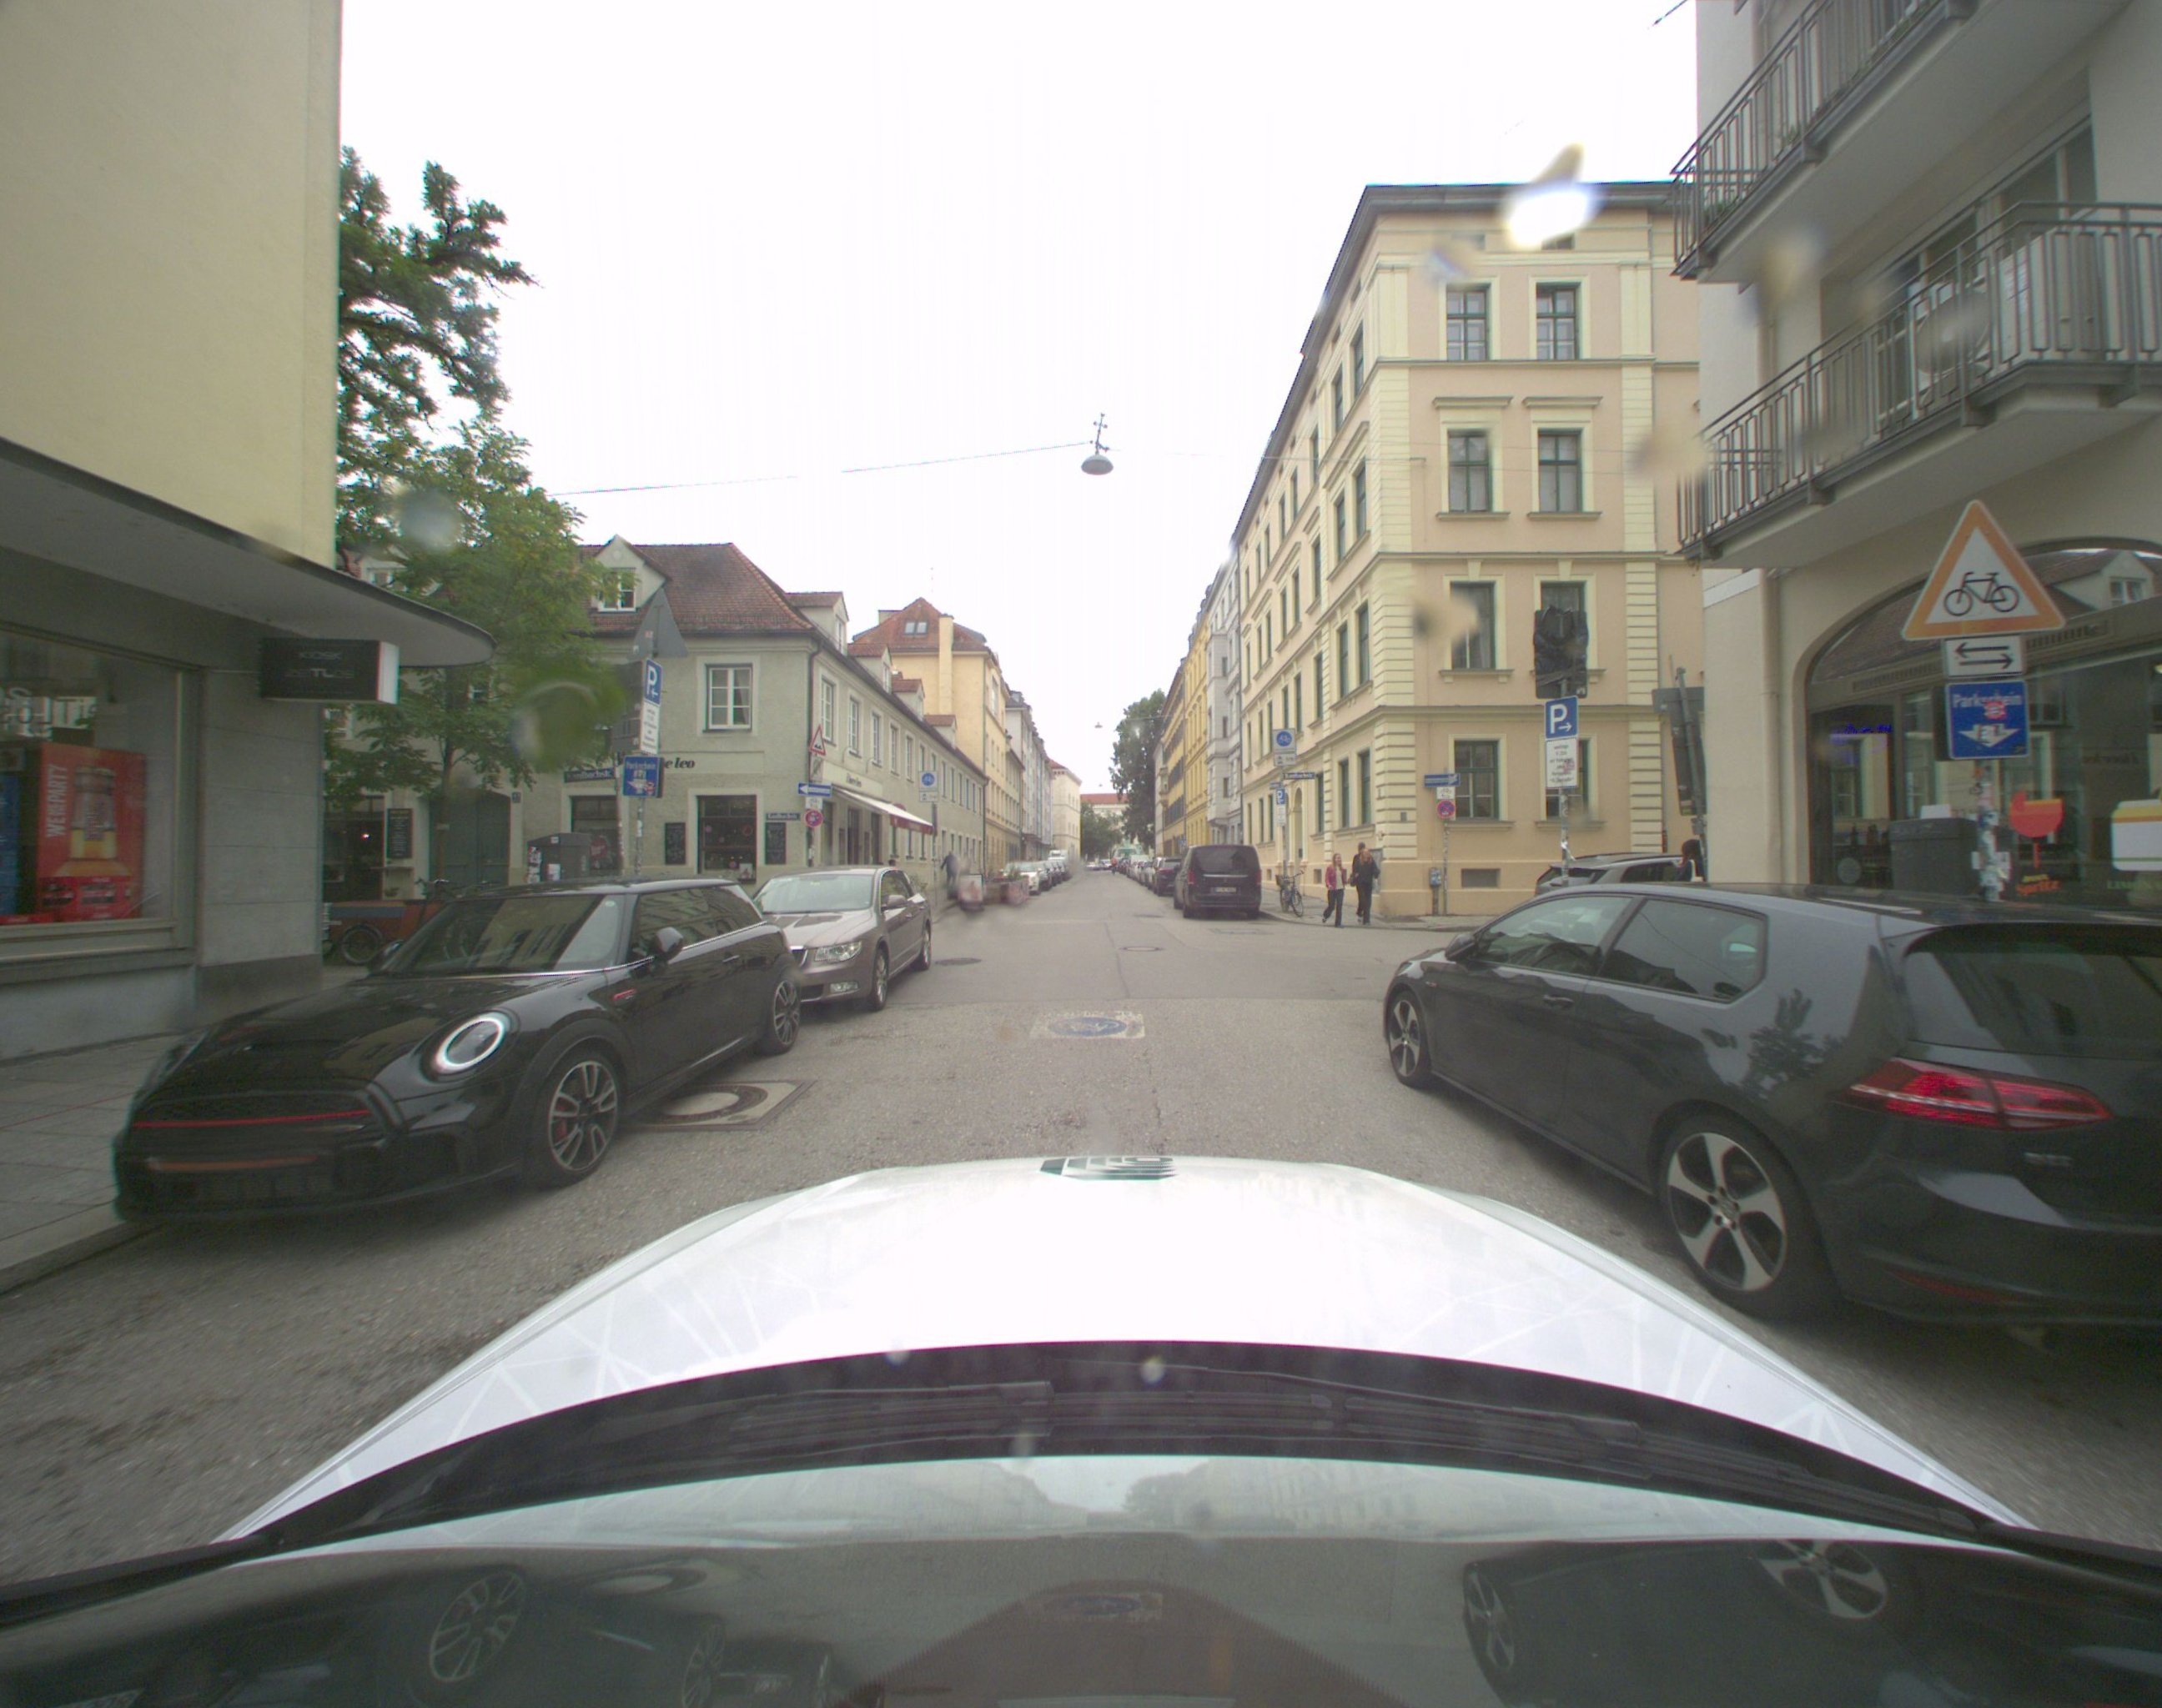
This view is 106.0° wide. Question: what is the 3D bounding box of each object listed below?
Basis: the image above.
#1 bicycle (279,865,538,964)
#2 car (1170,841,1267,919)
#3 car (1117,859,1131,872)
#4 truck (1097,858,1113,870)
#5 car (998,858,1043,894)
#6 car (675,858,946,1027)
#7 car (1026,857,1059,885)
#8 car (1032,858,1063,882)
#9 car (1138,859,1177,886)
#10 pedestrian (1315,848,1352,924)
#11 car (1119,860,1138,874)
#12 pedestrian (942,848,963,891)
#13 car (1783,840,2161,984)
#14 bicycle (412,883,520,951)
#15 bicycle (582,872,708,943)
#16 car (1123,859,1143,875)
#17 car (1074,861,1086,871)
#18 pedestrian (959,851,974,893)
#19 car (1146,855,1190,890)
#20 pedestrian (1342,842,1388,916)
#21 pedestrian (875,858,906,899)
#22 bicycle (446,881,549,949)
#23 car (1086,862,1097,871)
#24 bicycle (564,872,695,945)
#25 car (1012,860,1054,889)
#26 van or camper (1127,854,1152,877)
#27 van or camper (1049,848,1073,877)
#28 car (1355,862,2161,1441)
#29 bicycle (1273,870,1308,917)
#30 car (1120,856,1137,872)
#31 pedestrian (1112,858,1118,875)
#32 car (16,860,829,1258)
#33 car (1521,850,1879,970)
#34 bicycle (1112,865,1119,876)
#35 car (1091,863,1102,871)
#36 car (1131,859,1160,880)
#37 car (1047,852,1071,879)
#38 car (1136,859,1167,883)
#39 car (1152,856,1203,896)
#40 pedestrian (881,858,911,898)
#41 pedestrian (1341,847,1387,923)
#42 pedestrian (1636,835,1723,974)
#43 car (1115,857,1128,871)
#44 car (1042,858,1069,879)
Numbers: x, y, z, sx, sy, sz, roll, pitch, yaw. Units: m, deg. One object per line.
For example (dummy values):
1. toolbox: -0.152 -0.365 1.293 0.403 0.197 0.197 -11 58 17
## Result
1. bicycle: -9.003 0.794 10.976 2.830 1.212 0.818 1 -2 3
2. car: 3.604 0.647 22.263 1.989 1.864 5.256 1 0 3
3. car: 5.667 1.556 108.090 1.805 1.614 4.157 0 -1 2
4. truck: 4.652 2.027 158.694 2.118 2.247 6.171 0 -2 -6
5. car: -2.586 0.927 35.574 1.750 1.475 3.711 1 -1 -2
6. car: -2.830 0.804 9.778 1.674 1.471 4.947 -1 0 -1
7. car: -2.148 0.970 46.624 1.750 1.496 4.198 0 -1 -1
8. car: -2.127 0.964 51.821 1.812 1.441 4.127 -1 0 -2
9. car: 4.230 1.017 45.479 1.703 1.404 4.205 0 -1 -1
10. pedestrian: 5.600 0.711 18.071 0.470 1.625 1.069 0 -2 0
11. car: 5.060 1.389 87.178 1.806 1.425 4.245 1 -1 0
12. pedestrian: -5.771 0.710 36.651 0.820 1.898 0.827 0 -2 0
13. car: 13.616 0.789 12.255 4.426 1.916 1.975 0 2 -1
14. bicycle: -9.523 0.938 12.679 0.379 0.966 1.714 2 -2 -2
15. bicycle: -6.968 0.846 13.047 1.810 1.035 0.392 2 0 3
16. car: 5.166 1.299 81.893 1.805 1.465 4.247 1 -1 1
17. car: -0.107 1.928 128.799 1.699 1.609 3.866 -1 -1 4
18. pedestrian: -4.964 0.784 35.365 0.526 1.782 0.877 0 -2 1
19. car: 4.111 0.884 39.117 1.736 1.583 4.468 0 -1 2
20. pedestrian: 6.761 0.589 19.411 0.716 1.717 1.003 0 -2 0
21. pedestrian: -6.068 0.770 25.928 0.800 1.290 0.693 0 -2 1
22. bicycle: -9.060 0.922 12.717 0.379 0.966 1.714 2 -2 -2
23. car: 1.862 2.196 143.306 1.699 1.581 3.867 -1 -1 4
24. bicycle: -6.996 0.833 12.643 1.810 1.035 0.392 2 0 3
25. car: -2.338 0.996 40.726 1.792 1.339 4.685 0 0 0
26. van or camper: 4.822 0.934 67.370 1.827 1.872 5.080 0 -1 2
27. van or camper: -1.626 0.711 67.240 1.749 2.281 5.273 0 -1 0
28. car: 3.001 0.809 4.215 1.670 1.425 4.202 2 0 -1
29. bicycle: 5.245 0.970 20.487 0.463 1.052 1.730 -2 2 2
30. car: 5.455 1.167 94.181 1.805 1.797 4.248 1 -1 2
31. pedestrian: 3.362 1.225 80.407 0.639 1.714 0.843 0 -2 2
32. car: -3.147 0.796 5.143 1.672 1.471 4.099 -1 0 2
33. car: 9.075 0.772 12.190 4.076 1.605 1.754 0 1 -1
34. bicycle: 3.370 1.621 80.357 0.673 1.095 1.761 0 -2 2
35. car: 2.867 2.383 149.534 1.699 1.581 3.867 -1 -1 4
36. car: 4.535 1.096 57.606 1.703 1.454 4.095 0 -1 -1
37. car: -1.705 0.867 61.759 1.750 1.995 4.620 0 -1 -3
38. car: 4.415 1.062 51.391 1.702 1.408 4.816 0 -1 2
39. car: 3.904 0.867 33.544 1.748 1.521 4.275 0 -1 2
40. pedestrian: -6.052 0.797 26.664 0.800 1.290 0.693 0 -2 1
41. pedestrian: 6.268 0.680 18.060 0.656 1.621 0.979 0 -2 0
42. pedestrian: 7.333 0.607 9.994 0.633 1.647 0.525 0 -2 -7
43. car: 5.645 1.421 113.971 1.845 1.920 4.771 0 -1 2
44. car: -1.737 1.020 56.890 1.749 1.409 4.102 0 -1 0
